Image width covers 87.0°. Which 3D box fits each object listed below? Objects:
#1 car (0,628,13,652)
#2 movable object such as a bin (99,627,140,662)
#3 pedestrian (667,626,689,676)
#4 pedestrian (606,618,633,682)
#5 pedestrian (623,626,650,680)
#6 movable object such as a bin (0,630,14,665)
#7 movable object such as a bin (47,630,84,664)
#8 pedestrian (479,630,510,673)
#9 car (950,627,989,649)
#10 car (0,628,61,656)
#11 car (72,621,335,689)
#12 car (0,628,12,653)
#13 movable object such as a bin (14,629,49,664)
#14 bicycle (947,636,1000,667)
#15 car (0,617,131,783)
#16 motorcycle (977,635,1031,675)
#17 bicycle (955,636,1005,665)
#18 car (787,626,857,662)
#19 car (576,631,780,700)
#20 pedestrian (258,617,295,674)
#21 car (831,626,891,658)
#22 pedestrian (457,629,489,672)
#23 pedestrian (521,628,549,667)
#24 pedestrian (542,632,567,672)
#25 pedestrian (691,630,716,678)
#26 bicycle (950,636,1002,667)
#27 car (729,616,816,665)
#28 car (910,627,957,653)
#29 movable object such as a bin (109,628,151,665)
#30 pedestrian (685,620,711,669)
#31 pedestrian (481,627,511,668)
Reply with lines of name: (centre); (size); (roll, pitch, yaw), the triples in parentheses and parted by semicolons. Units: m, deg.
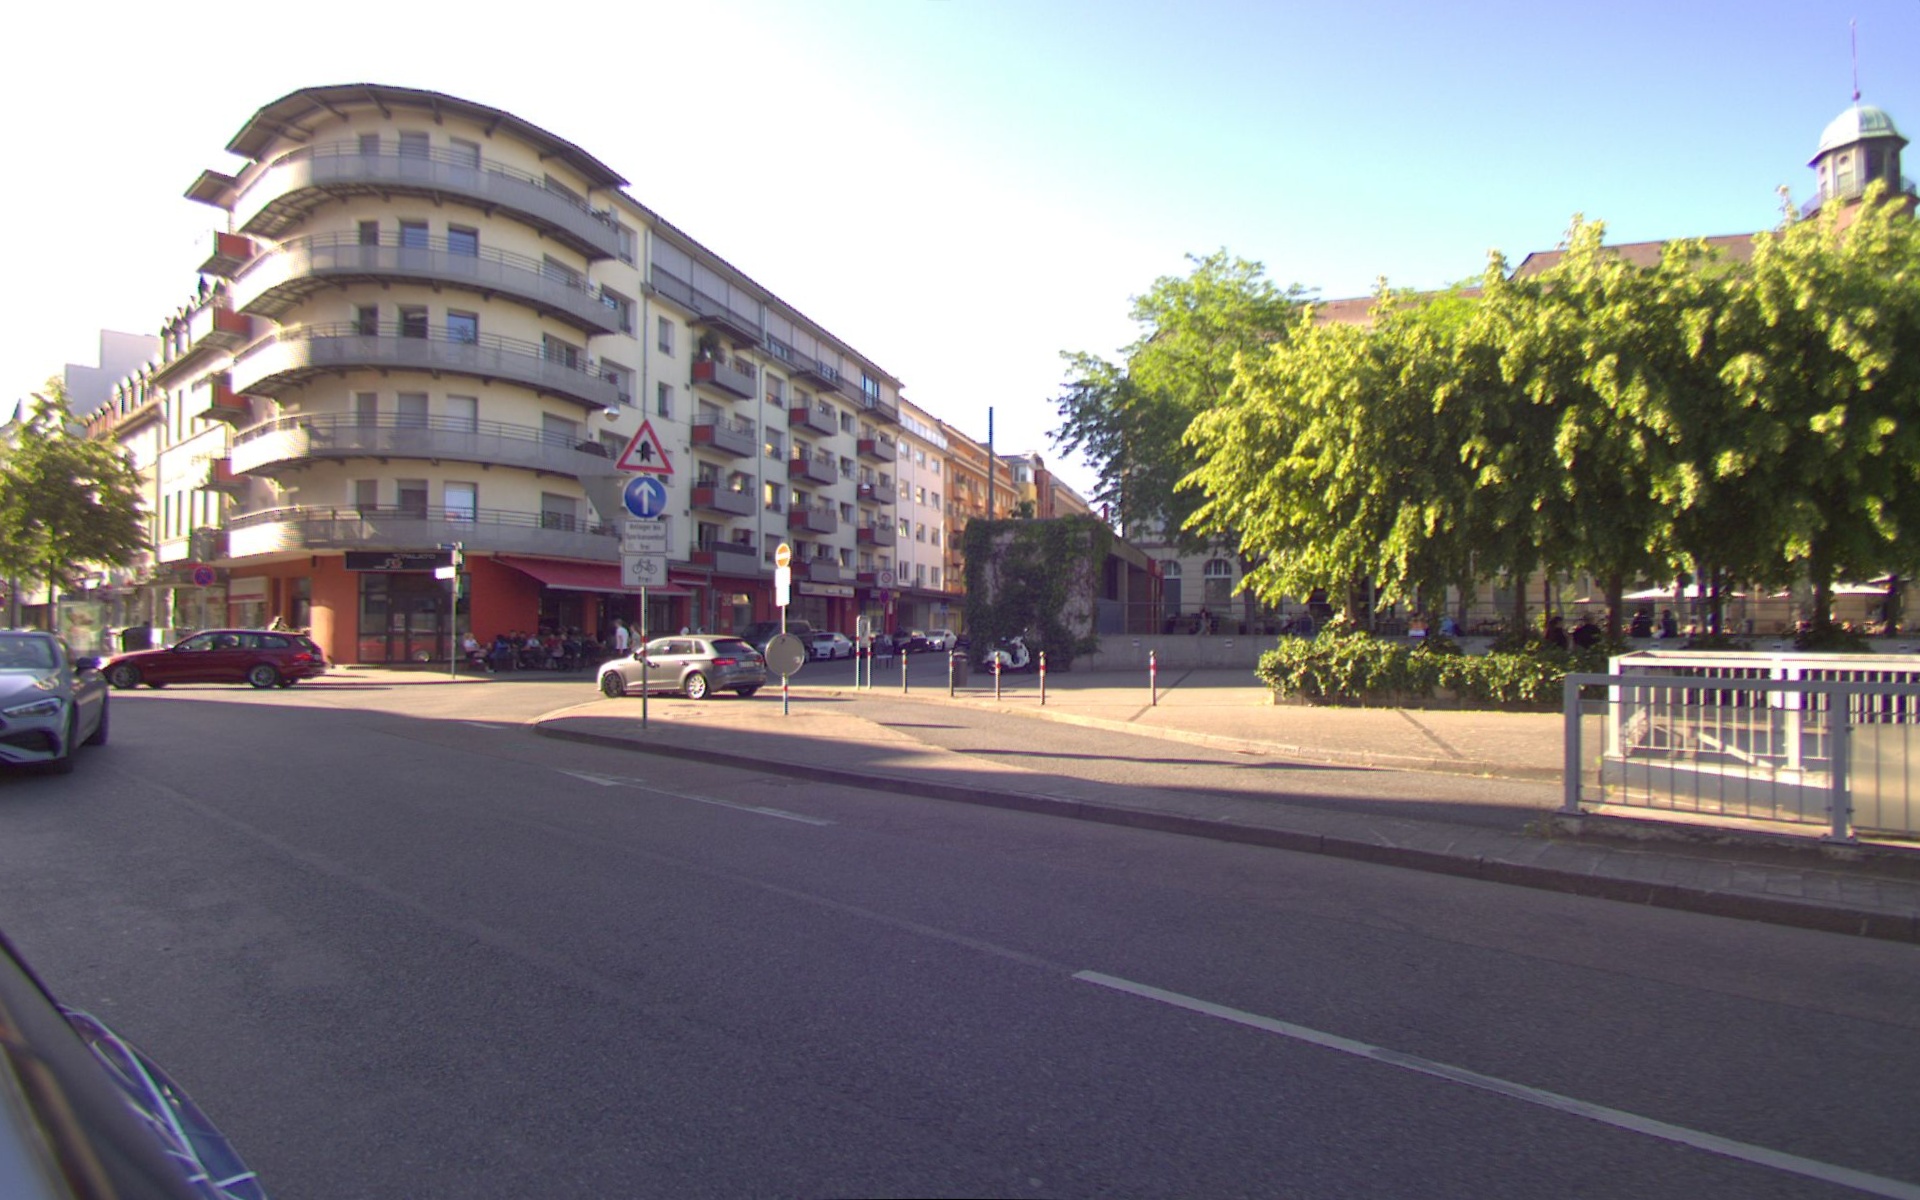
car: (-59.382, 2.449, 60.579); (1.789, 1.439, 3.800); (-2, -1, 42)
movable object such as a bin: (-34.099, 1.794, 41.037); (1.313, 1.355, 1.031); (-2, -2, 39)
pedestrian: (-8.759, 1.577, 31.461); (0.545, 1.547, 0.542); (0, -2, -1)
pedestrian: (-10.020, 1.465, 29.808); (0.552, 1.841, 0.586); (0, -2, 7)
pedestrian: (-9.734, 1.589, 30.453); (0.576, 1.625, 0.615); (0, -2, 7)
movable object such as a bin: (-41.254, 2.011, 43.267); (1.142, 1.483, 1.031); (-2, -2, 39)
movable object such as a bin: (-39.826, 2.094, 45.053); (1.142, 1.483, 1.031); (-2, -2, 39)
pedestrian: (-14.742, 1.621, 32.045); (0.693, 1.350, 0.573); (-1, -2, 12)
car: (0.715, 2.905, 76.179); (1.894, 1.585, 4.160); (0, -3, 16)
car: (-51.485, 2.282, 54.734); (1.739, 1.479, 4.157); (-2, -1, 42)
car: (-17.883, 1.317, 24.223); (4.653, 1.527, 1.927); (2, -3, -20)
car: (-57.657, 2.387, 58.709); (1.738, 1.479, 3.710); (-2, -1, 40)
movable object such as a bin: (-40.524, 2.019, 44.164); (1.142, 1.483, 0.954); (-1, -2, 39)
bicycle: (0.512, 1.939, 38.275); (1.945, 1.140, 0.504); (0, -2, 12)
car: (-10.221, 0.915, 10.512); (1.966, 1.434, 5.131); (2, -3, -34)
motorcycle: (1.390, 1.727, 32.021); (1.665, 1.217, 0.507); (1, -2, -29)
bicycle: (0.787, 2.007, 40.134); (1.945, 1.140, 0.504); (0, -2, 12)
car: (-6.757, 2.166, 49.950); (1.894, 1.673, 4.160); (0, -3, 16)
car: (-6.408, 1.471, 22.880); (4.518, 1.434, 1.737); (-3, -3, 29)
pedestrian: (-20.482, 1.344, 30.322); (1.036, 1.672, 0.658); (-2, -2, 40)
car: (-5.361, 2.299, 55.440); (1.894, 1.673, 4.160); (0, -3, 16)
pedestrian: (-15.491, 1.601, 32.194); (0.693, 1.350, 0.573); (-1, -2, 12)
pedestrian: (-14.868, 1.660, 35.383); (0.693, 1.350, 0.573); (-1, -2, 12)
pedestrian: (-13.851, 1.758, 34.597); (0.688, 1.350, 0.576); (0, -2, -12)
pedestrian: (-8.350, 1.757, 32.983); (0.690, 1.547, 0.575); (0, -2, 0)
bicycle: (0.621, 1.969, 38.840); (1.945, 1.140, 0.504); (0, -2, 12)
car: (-8.217, 1.792, 44.751); (2.017, 2.065, 4.328); (0, -3, 16)
car: (-1.677, 2.618, 65.685); (1.894, 1.585, 4.160); (0, -3, 16)
movable object such as a bin: (-32.960, 1.826, 40.182); (1.313, 1.415, 1.031); (-2, -2, 39)
pedestrian: (-8.341, 1.401, 32.230); (0.677, 1.547, 0.542); (0, -2, 0)
pedestrian: (-15.343, 1.562, 33.450); (0.693, 1.350, 0.573); (-1, -2, 12)
